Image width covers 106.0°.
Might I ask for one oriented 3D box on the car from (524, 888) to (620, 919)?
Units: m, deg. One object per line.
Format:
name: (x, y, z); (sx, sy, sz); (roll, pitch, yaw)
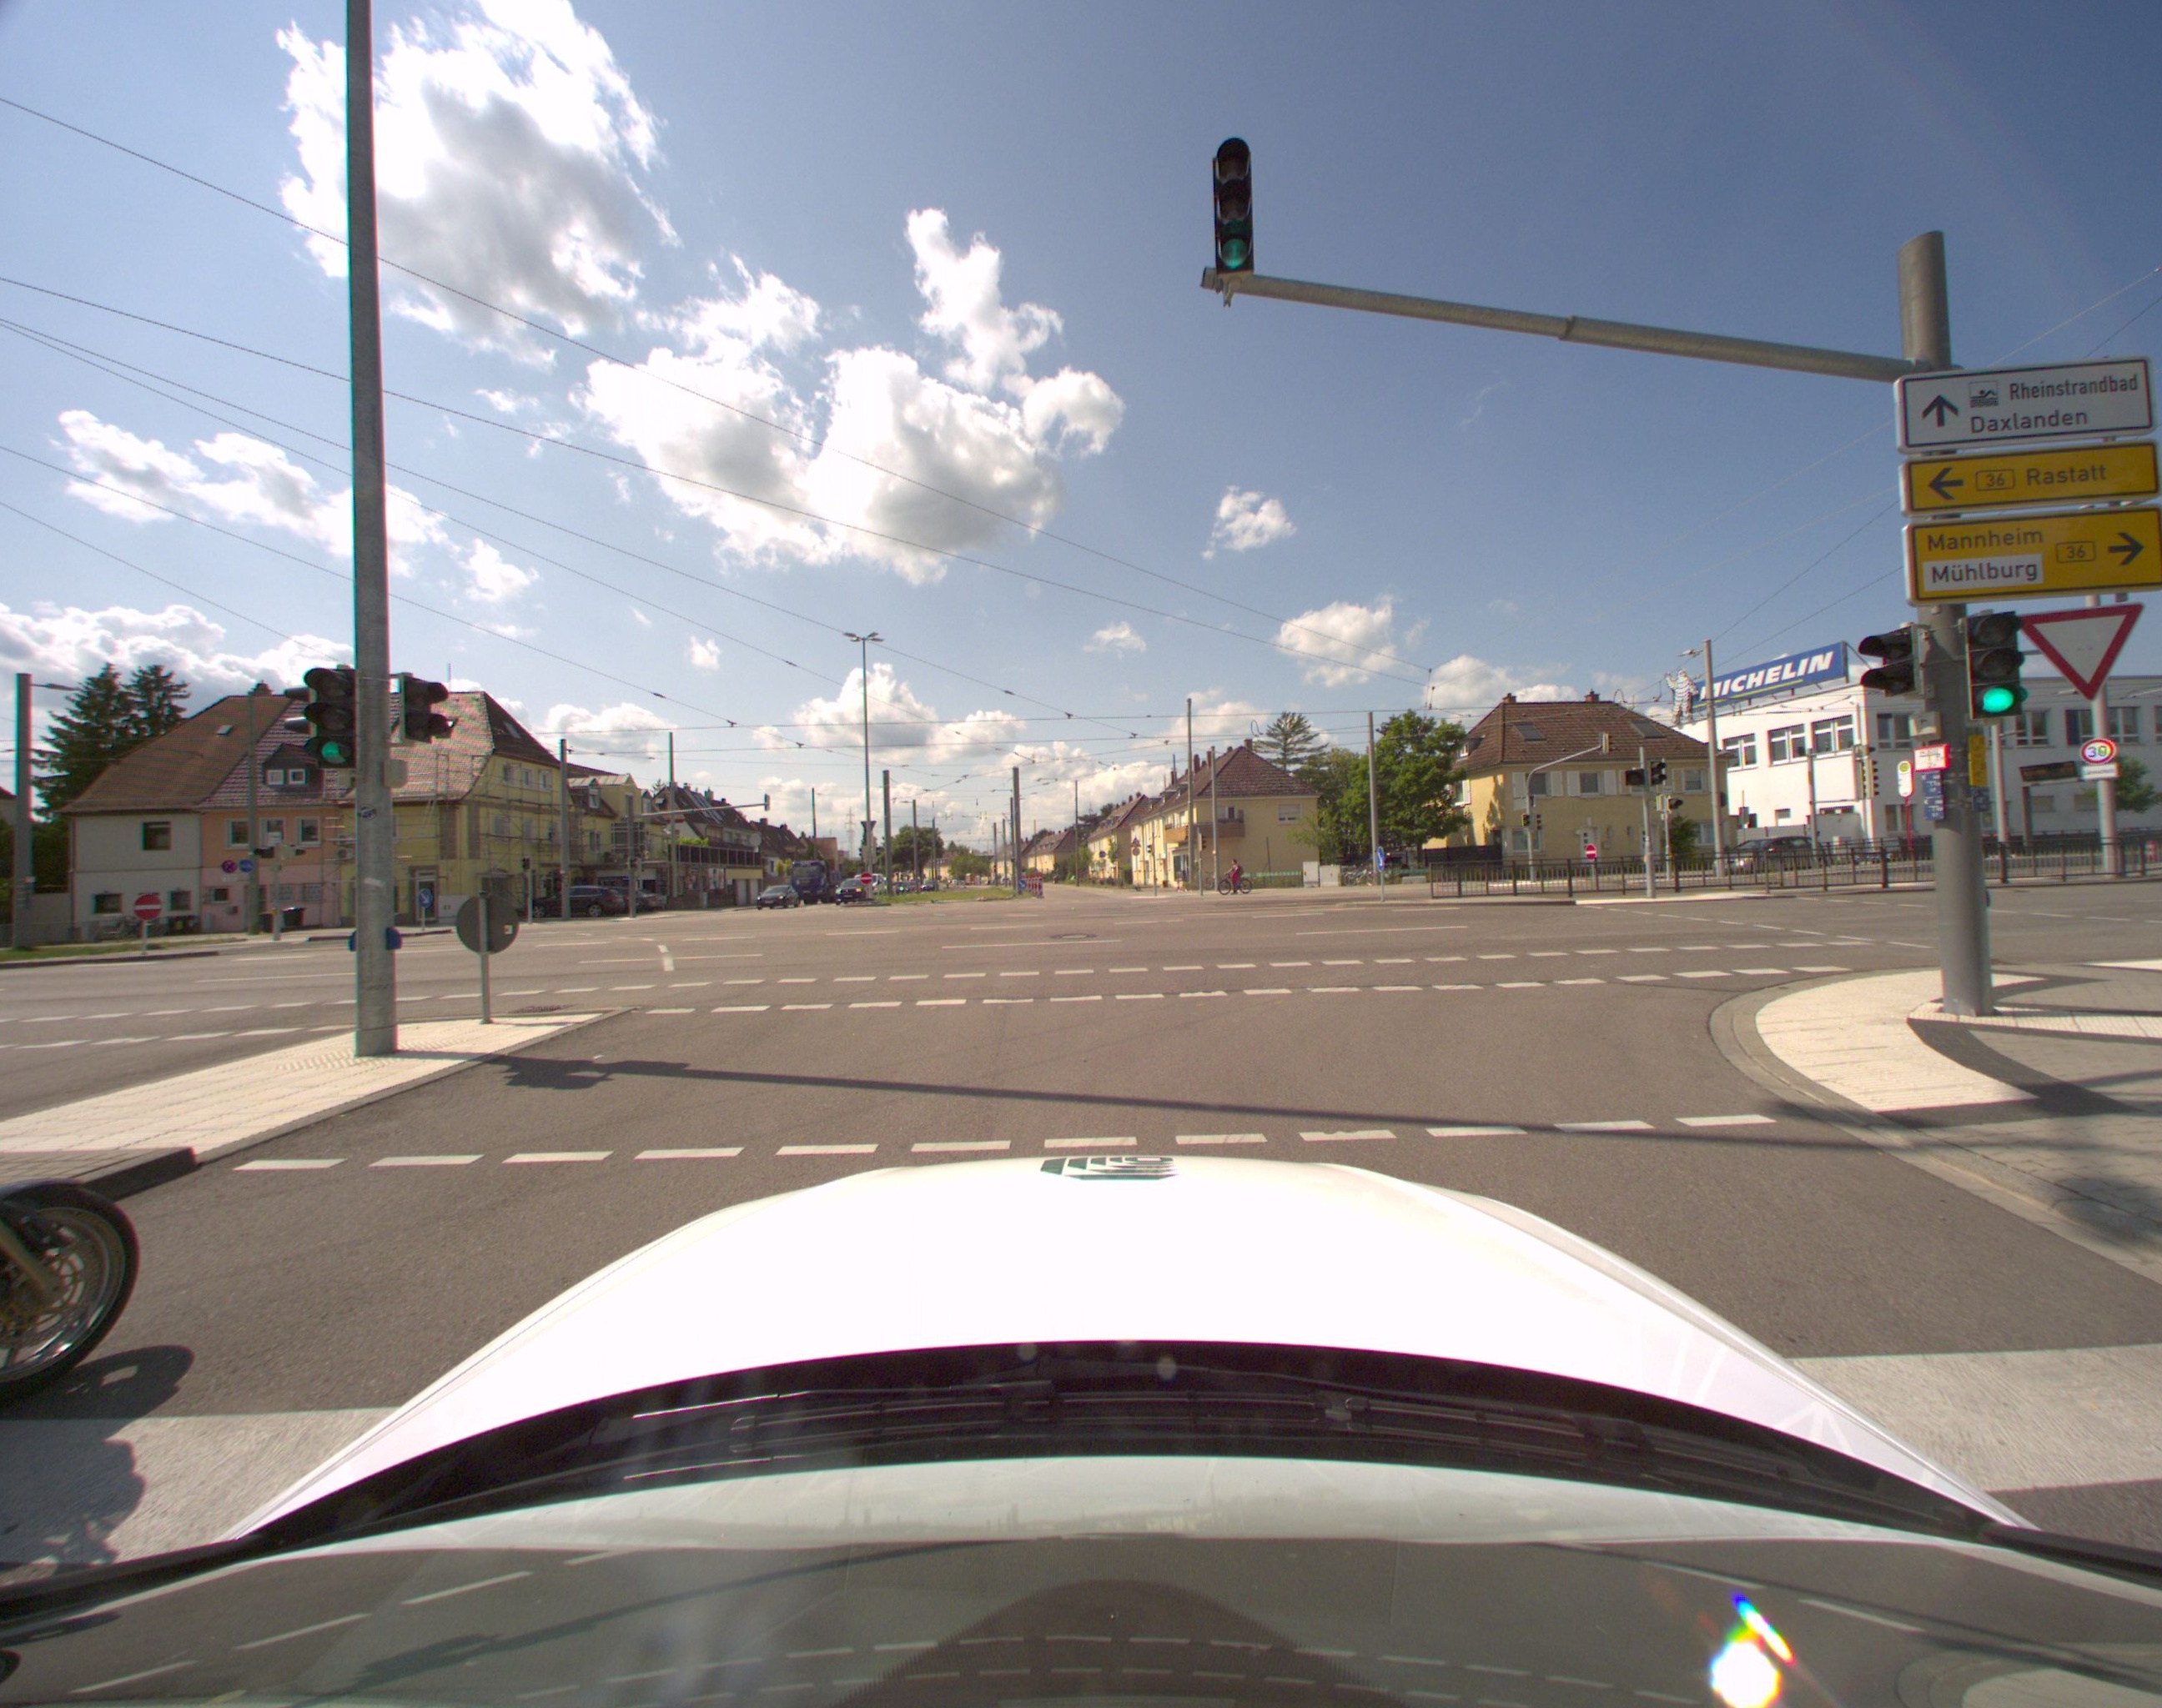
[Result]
car: (-26.763, 2.599, 42.922); (4.132, 1.493, 1.176); (0, -2, -8)

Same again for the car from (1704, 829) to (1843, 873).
car: (27.619, -0.101, 32.567); (3.977, 1.568, 1.840); (-3, -1, -2)

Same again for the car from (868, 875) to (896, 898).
car: (-16.378, 2.669, 67.209); (1.732, 1.782, 4.392); (-2, -1, -8)

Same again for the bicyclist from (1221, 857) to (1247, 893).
bicyclist: (7.701, 1.072, 40.926); (0.962, 1.775, 0.714); (-2, -2, -24)

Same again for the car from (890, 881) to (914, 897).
car: (-17.676, 3.411, 80.544); (1.842, 1.413, 4.902); (-2, -2, -8)

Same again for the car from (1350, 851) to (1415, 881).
car: (17.937, 0.746, 48.655); (1.822, 1.621, 3.986); (-2, -3, -9)

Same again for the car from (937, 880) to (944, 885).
car: (-41.708, 8.371, 242.065); (1.264, 1.426, 2.643); (-2, -2, -25)

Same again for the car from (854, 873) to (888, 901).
car: (-15.269, 2.381, 59.352); (1.813, 1.922, 4.734); (-2, -1, -8)

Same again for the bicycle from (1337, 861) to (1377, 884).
bicycle: (14.302, 0.974, 42.297); (1.785, 1.105, 0.707); (-3, -2, 39)

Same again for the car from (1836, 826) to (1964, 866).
car: (33.554, -0.326, 33.403); (3.701, 1.446, 1.575); (-3, -1, -2)

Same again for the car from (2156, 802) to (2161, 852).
car: (48.673, -1.273, 34.163); (4.819, 2.159, 1.813); (-2, -1, -2)

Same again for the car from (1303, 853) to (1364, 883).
car: (15.135, 0.867, 48.999); (1.822, 1.621, 3.986); (-2, -3, -9)

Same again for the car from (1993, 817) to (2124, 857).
car: (46.565, -0.797, 38.863); (3.977, 1.692, 1.938); (-3, -1, -2)

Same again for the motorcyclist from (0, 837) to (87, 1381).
motorcyclist: (-3.220, 0.674, 1.719); (0.819, 1.398, 1.101); (-1, 1, 3)

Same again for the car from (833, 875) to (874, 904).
car: (-14.750, 2.274, 52.941); (1.784, 1.721, 4.431); (-2, -1, -6)

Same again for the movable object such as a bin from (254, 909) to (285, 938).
movable object such as a bin: (-36.874, 3.142, 37.008); (0.680, 1.260, 0.681); (-1, -1, -4)

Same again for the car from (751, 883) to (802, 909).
car: (-19.161, 2.623, 51.426); (1.825, 1.487, 4.326); (-2, -2, -5)

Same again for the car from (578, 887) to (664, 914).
car: (-27.231, 2.737, 48.304); (4.132, 1.493, 1.431); (0, -2, -8)

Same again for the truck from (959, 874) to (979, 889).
truck: (-29.090, 7.129, 210.709); (2.652, 3.494, 9.363); (-2, -2, -23)

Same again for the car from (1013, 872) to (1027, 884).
car: (-11.286, 4.409, 150.632); (2.065, 2.149, 4.861); (-2, -2, -9)

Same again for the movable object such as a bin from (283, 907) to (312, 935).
movable object such as a bin: (-36.889, 3.166, 38.343); (0.680, 1.260, 0.681); (-1, -1, -4)

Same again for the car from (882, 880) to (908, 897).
car: (-16.827, 3.145, 73.885); (1.914, 1.419, 3.989); (-2, -2, -8)

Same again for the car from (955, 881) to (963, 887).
car: (-33.368, 8.242, 222.756); (1.263, 1.426, 2.644); (-2, -2, -23)

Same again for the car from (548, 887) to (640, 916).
car: (-27.206, 2.653, 45.594); (4.132, 1.493, 1.503); (0, -2, -8)

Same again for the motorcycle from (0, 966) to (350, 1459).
motorcycle: (-3.189, 0.984, 1.836); (0.838, 1.128, 2.360); (-3, -1, 3)

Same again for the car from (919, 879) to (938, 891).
car: (-21.971, 4.519, 117.526); (1.813, 1.552, 4.001); (-3, -1, 1)

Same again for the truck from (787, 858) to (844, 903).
truck: (-20.449, 2.062, 63.032); (2.767, 3.188, 7.560); (-2, -2, -8)

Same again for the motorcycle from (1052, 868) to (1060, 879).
motorcycle: (-3.847, 3.078, 125.434); (1.066, 1.635, 2.077); (-2, -2, -8)

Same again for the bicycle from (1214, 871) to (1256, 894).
bicycle: (7.737, 1.430, 40.949); (2.037, 1.102, 0.709); (-2, -2, -25)

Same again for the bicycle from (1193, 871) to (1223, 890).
bicycle: (7.613, 1.590, 48.986); (0.596, 1.096, 2.257); (-2, -2, -25)

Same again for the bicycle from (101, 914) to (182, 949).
bicycle: (-42.295, 3.454, 36.708); (0.771, 1.356, 2.458); (-1, -1, 1)

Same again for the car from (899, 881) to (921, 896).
car: (-18.546, 3.745, 88.685); (1.841, 1.494, 4.844); (-2, -2, -7)
